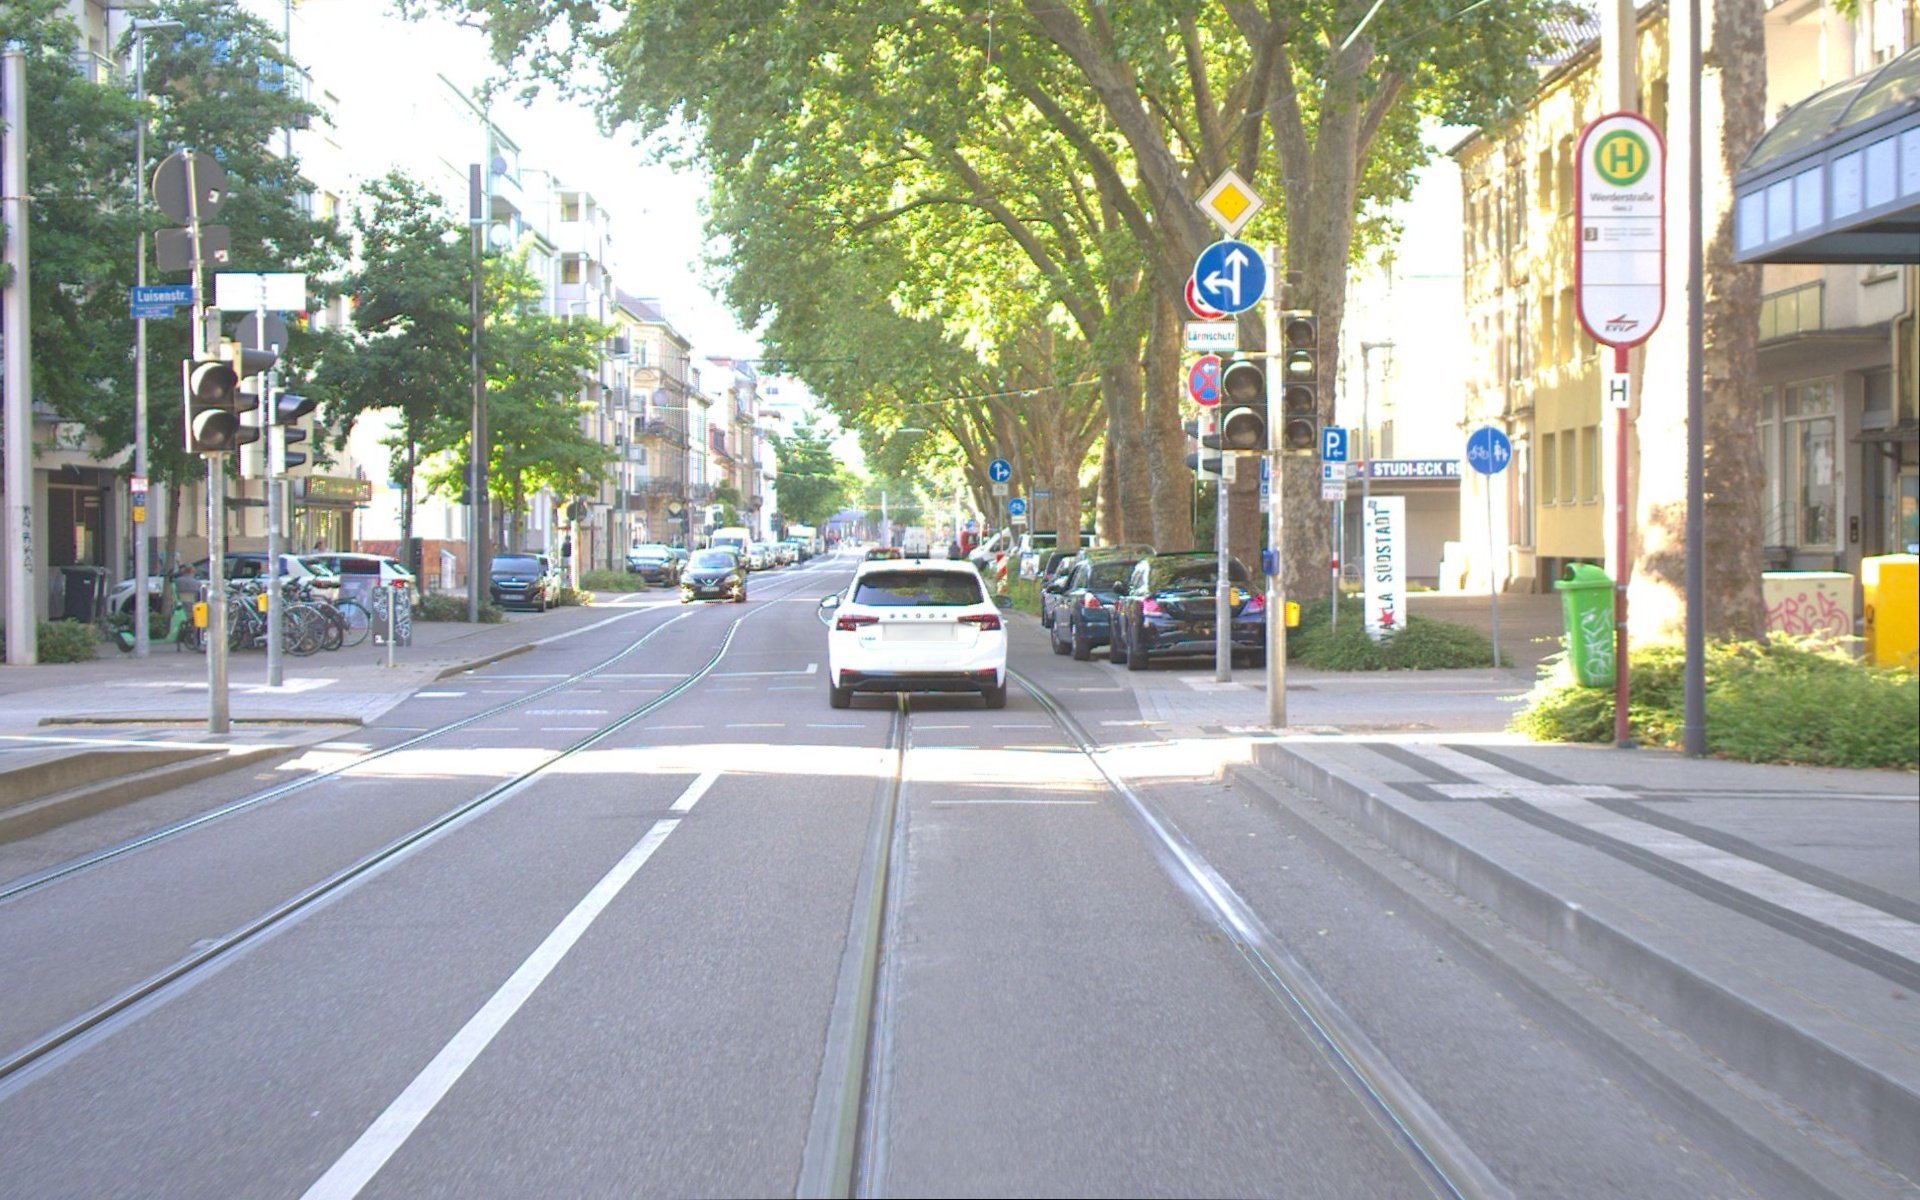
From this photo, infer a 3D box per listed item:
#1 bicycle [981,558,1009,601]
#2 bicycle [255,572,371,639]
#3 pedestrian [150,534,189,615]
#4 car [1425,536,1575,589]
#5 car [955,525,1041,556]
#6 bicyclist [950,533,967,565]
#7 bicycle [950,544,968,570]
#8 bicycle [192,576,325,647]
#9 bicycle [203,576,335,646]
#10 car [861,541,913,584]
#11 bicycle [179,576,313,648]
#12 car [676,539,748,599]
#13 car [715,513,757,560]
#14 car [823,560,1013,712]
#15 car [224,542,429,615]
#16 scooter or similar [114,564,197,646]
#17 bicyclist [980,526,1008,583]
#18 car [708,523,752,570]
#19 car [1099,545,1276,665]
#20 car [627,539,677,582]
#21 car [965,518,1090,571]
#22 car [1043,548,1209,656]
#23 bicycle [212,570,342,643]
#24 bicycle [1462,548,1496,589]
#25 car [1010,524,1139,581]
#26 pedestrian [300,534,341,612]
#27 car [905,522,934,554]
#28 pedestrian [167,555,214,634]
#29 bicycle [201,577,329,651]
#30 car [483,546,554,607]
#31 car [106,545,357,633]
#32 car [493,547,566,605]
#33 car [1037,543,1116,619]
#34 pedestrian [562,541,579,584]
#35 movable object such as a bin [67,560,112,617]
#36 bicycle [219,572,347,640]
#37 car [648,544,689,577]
[{"bbox_3d":[0.887,-0.537,88.476,0.681,1.067,1.781,-1,1,0],"label":"bicycle"},{"bbox_3d":[-9.996,0.079,53.158,1.690,1.003,0.658,1,0,-5],"label":"bicycle"},{"bbox_3d":[-16.438,-0.536,71.511,0.663,1.685,0.749,0,1,-2],"label":"pedestrian"},{"bbox_3d":[16.376,-1.139,104.302,4.130,1.588,2.000,0,1,-5],"label":"car"},{"bbox_3d":[2.762,-4.348,251.759,6.130,2.274,2.529,0,1,-2],"label":"car"},{"bbox_3d":[-0.056,-2.123,143.674,0.649,1.339,0.934,-1,1,-2],"label":"bicyclist"},{"bbox_3d":[-0.047,-1.817,143.667,0.649,1.067,1.583,-1,1,-3],"label":"bicycle"},{"bbox_3d":[-10.202,0.160,50.026,1.829,1.003,0.658,1,0,-5],"label":"bicycle"},{"bbox_3d":[-10.179,0.166,50.672,1.829,1.003,0.658,1,0,-5],"label":"bicycle"},{"bbox_3d":[-2.577,-1.322,121.639,1.761,1.470,4.000,-1,1,0],"label":"car"},{"bbox_3d":[-10.288,0.170,49.584,1.829,1.003,0.658,1,0,-5],"label":"bicycle"},{"bbox_3d":[-7.054,-0.902,98.260,1.871,1.584,4.147,2,1,-2],"label":"car"},{"bbox_3d":[-13.887,-3.940,213.095,2.342,2.851,4.000,0,1,-1],"label":"car"},{"bbox_3d":[-0.461,0.311,34.198,1.761,1.379,4.000,-1,1,-2],"label":"car"},{"bbox_3d":[-13.263,-0.448,72.120,4.012,1.470,1.852,1,0,-3],"label":"car"},{"bbox_3d":[-11.697,0.068,50.001,1.079,1.172,0.498,1,0,-2],"label":"scooter or similar"},{"bbox_3d":[0.872,-1.176,88.399,0.678,1.438,1.047,-1,1,0],"label":"bicyclist"},{"bbox_3d":[-12.990,-3.041,194.439,2.178,2.588,4.949,0,1,-1],"label":"car"},{"bbox_3d":[2.877,0.022,44.440,1.764,1.457,5.013,0,1,-2],"label":"car"},{"bbox_3d":[-12.330,-1.588,137.785,1.702,1.645,4.242,2,1,-2],"label":"car"},{"bbox_3d":[3.367,-2.786,172.923,6.130,2.626,2.529,0,1,-2],"label":"car"},{"bbox_3d":[2.332,-0.006,49.429,1.864,1.432,4.227,-1,1,-4],"label":"car"},{"bbox_3d":[-10.120,0.097,50.992,1.829,1.060,0.658,1,0,-5],"label":"bicycle"},{"bbox_3d":[14.292,-0.868,94.706,0.582,1.100,1.923,-2,1,-1],"label":"bicycle"},{"bbox_3d":[4.173,-1.747,125.940,4.543,2.069,2.001,0,1,-3],"label":"car"},{"bbox_3d":[-13.913,-0.581,74.783,0.763,1.685,0.795,0,1,-2],"label":"pedestrian"},{"bbox_3d":[-3.064,-4.704,259.271,2.202,2.379,4.000,0,1,-1],"label":"car"},{"bbox_3d":[-12.800,-0.099,57.160,0.712,1.293,0.748,-1,1,-15],"label":"pedestrian"},{"bbox_3d":[-9.717,0.195,48.104,1.690,1.003,0.658,1,0,-5],"label":"bicycle"},{"bbox_3d":[-11.386,-0.616,88.588,1.713,1.459,4.001,3,0,-8],"label":"car"},{"bbox_3d":[-12.790,-0.200,60.487,4.012,1.470,1.852,1,0,0],"label":"car"},{"bbox_3d":[-11.666,-0.670,93.373,1.713,1.459,4.378,3,0,-5],"label":"car"},{"bbox_3d":[2.399,-0.391,71.354,1.564,1.514,2.910,-2,0,1],"label":"car"},{"bbox_3d":[-16.395,-1.582,144.763,0.663,1.820,0.965,0,1,-2],"label":"pedestrian"},{"bbox_3d":[-16.436,-0.222,64.908,0.678,1.052,0.622,-1,1,1],"label":"movable object such as a bin"},{"bbox_3d":[-10.199,0.089,51.804,1.829,1.003,0.658,1,0,-5],"label":"bicycle"},{"bbox_3d":[-12.991,-1.773,153.492,1.653,1.432,3.837,0,1,-2],"label":"car"}]
